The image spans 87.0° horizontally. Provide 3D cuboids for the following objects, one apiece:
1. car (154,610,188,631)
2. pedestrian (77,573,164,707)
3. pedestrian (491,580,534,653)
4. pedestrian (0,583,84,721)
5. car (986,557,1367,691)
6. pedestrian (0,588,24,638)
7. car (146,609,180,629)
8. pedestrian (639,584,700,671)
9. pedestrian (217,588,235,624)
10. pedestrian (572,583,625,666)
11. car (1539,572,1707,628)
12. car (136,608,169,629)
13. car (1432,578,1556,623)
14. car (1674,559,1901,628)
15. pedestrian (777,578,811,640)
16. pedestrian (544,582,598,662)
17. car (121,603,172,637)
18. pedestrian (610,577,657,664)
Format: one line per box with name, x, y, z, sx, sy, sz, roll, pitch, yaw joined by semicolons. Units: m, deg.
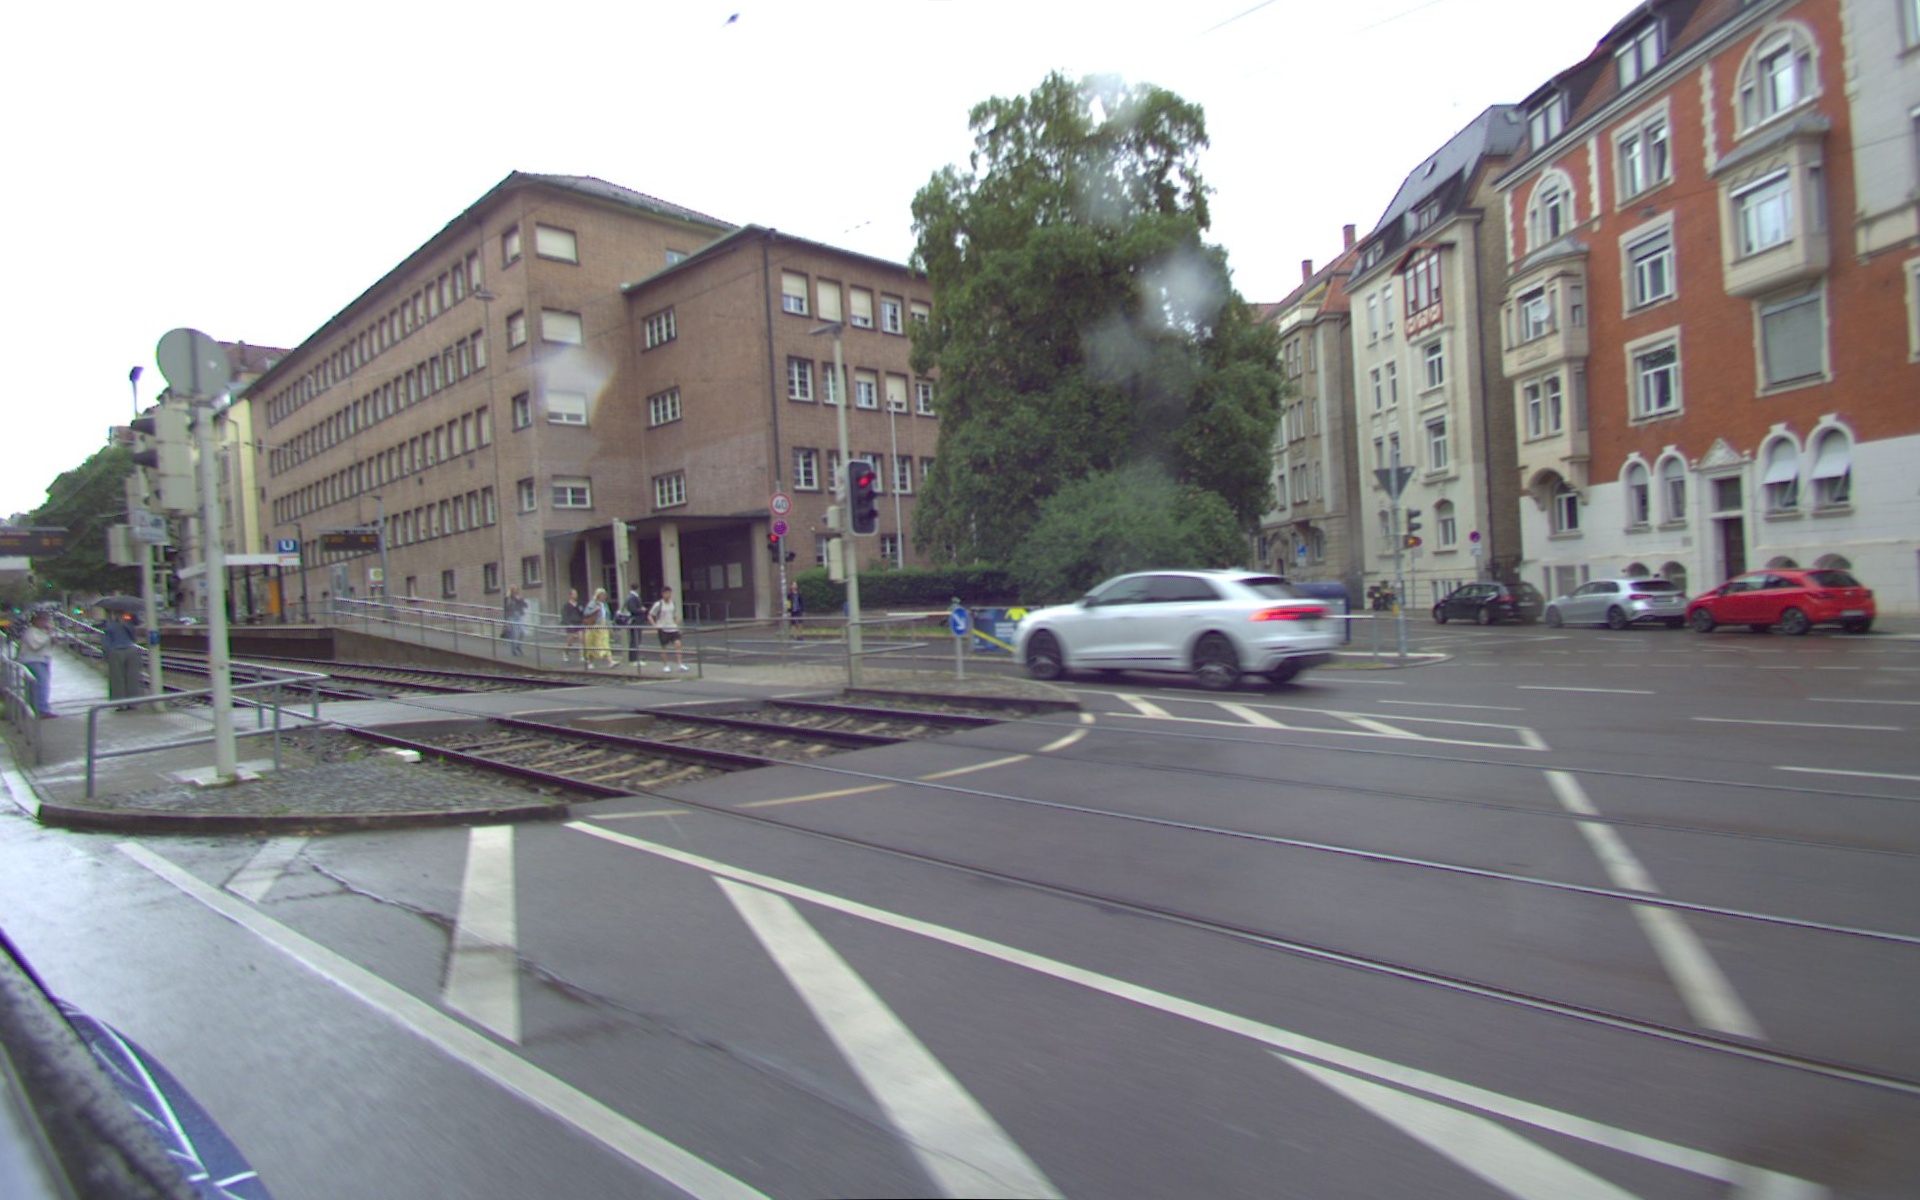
car;-59.341;1.556;76.063;1.626;1.477;3.113;-3;1;-45
pedestrian;-13.398;0.611;16.156;0.947;2.028;0.887;-1;2;44
pedestrian;-10.792;0.377;24.430;0.688;1.711;0.658;1;4;41
pedestrian;-14.350;0.779;15.508;0.915;2.028;0.948;-3;1;-2
car;2.982;0.336;14.946;5.255;1.640;1.971;-2;0;45
pedestrian;-34.752;0.473;37.025;0.711;1.788;0.636;-1;2;44
car;-62.049;1.461;78.803;1.626;1.414;3.635;-3;1;-44
pedestrian;-5.567;0.512;19.379;0.956;1.595;0.685;-2;1;43
pedestrian;-35.175;0.272;48.469;0.491;1.722;0.580;-2;0;43
pedestrian;-7.548;0.514;21.150;0.641;1.659;0.735;-3;1;44
car;18.444;-0.012;28.412;1.716;1.413;4.172;-1;0;-5
car;-65.595;1.526;82.166;1.626;1.592;4.341;-3;1;-44
car;18.068;0.003;34.487;1.716;1.413;4.148;-1;0;-5
car;18.863;-0.144;23.329;1.716;1.413;4.004;-1;0;-5
pedestrian;-4.566;0.237;27.885;0.688;1.688;0.597;-2;0;41
pedestrian;-8.785;0.475;22.852;0.883;1.708;0.736;1;5;43
car;-50.140;1.211;62.347;4.001;2.029;1.971;-1;0;44
pedestrian;-7.071;0.441;21.916;0.511;1.832;0.791;-3;-1;33
